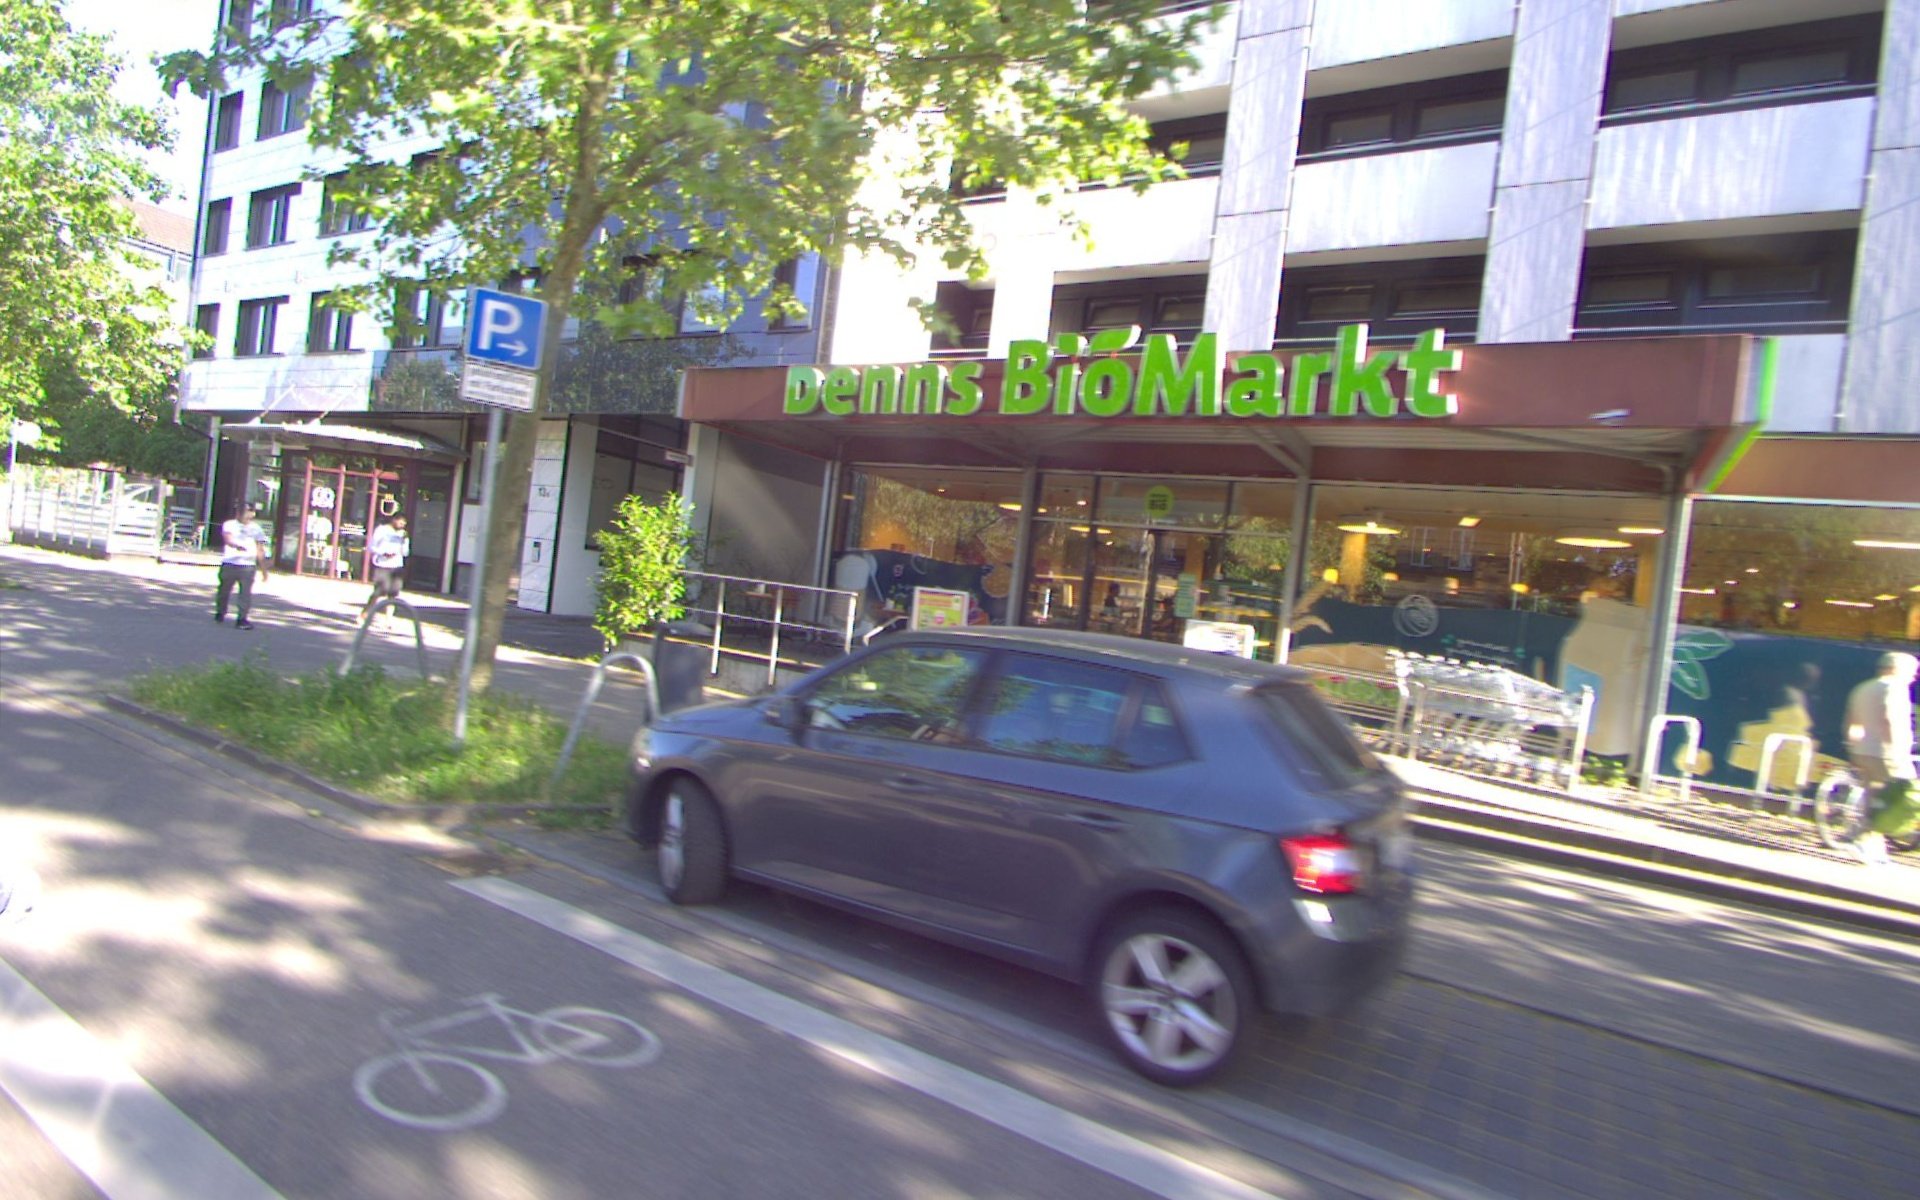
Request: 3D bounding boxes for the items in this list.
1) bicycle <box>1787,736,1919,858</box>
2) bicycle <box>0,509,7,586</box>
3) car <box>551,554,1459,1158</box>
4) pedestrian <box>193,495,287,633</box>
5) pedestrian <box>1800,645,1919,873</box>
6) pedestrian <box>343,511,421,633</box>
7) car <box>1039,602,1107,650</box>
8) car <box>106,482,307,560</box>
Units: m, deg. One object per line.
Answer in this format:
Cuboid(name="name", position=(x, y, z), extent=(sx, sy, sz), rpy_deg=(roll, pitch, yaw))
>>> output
Cuboid(name="bicycle", position=(8.356, 1.770, 9.225), extent=(1.634, 0.929, 0.580), rpy_deg=(5, 5, -32))
Cuboid(name="bicycle", position=(-15.315, -0.892, 15.006), extent=(1.812, 1.148, 0.790), rpy_deg=(7, 1, 19))
Cuboid(name="car", position=(0.033, 0.795, 4.793), extent=(3.934, 1.569, 1.566), rpy_deg=(7, 0, 32))
Cuboid(name="pedestrian", position=(-9.714, -0.486, 13.571), extent=(1.034, 1.726, 0.560), rpy_deg=(7, 2, 32))
Cuboid(name="pedestrian", position=(7.607, 1.287, 8.390), extent=(0.603, 1.740, 0.611), rpy_deg=(9, 5, 32))
Cuboid(name="pedestrian", position=(-8.885, -0.434, 15.458), extent=(0.864, 1.767, 0.560), rpy_deg=(7, 2, 31))
Cuboid(name="car", position=(4.617, 1.055, 40.643), extent=(1.906, 1.638, 4.000), rpy_deg=(7, 0, 16))
Cuboid(name="car", position=(-24.628, -2.539, 33.090), extent=(1.881, 2.011, 4.896), rpy_deg=(7, 3, 32))
